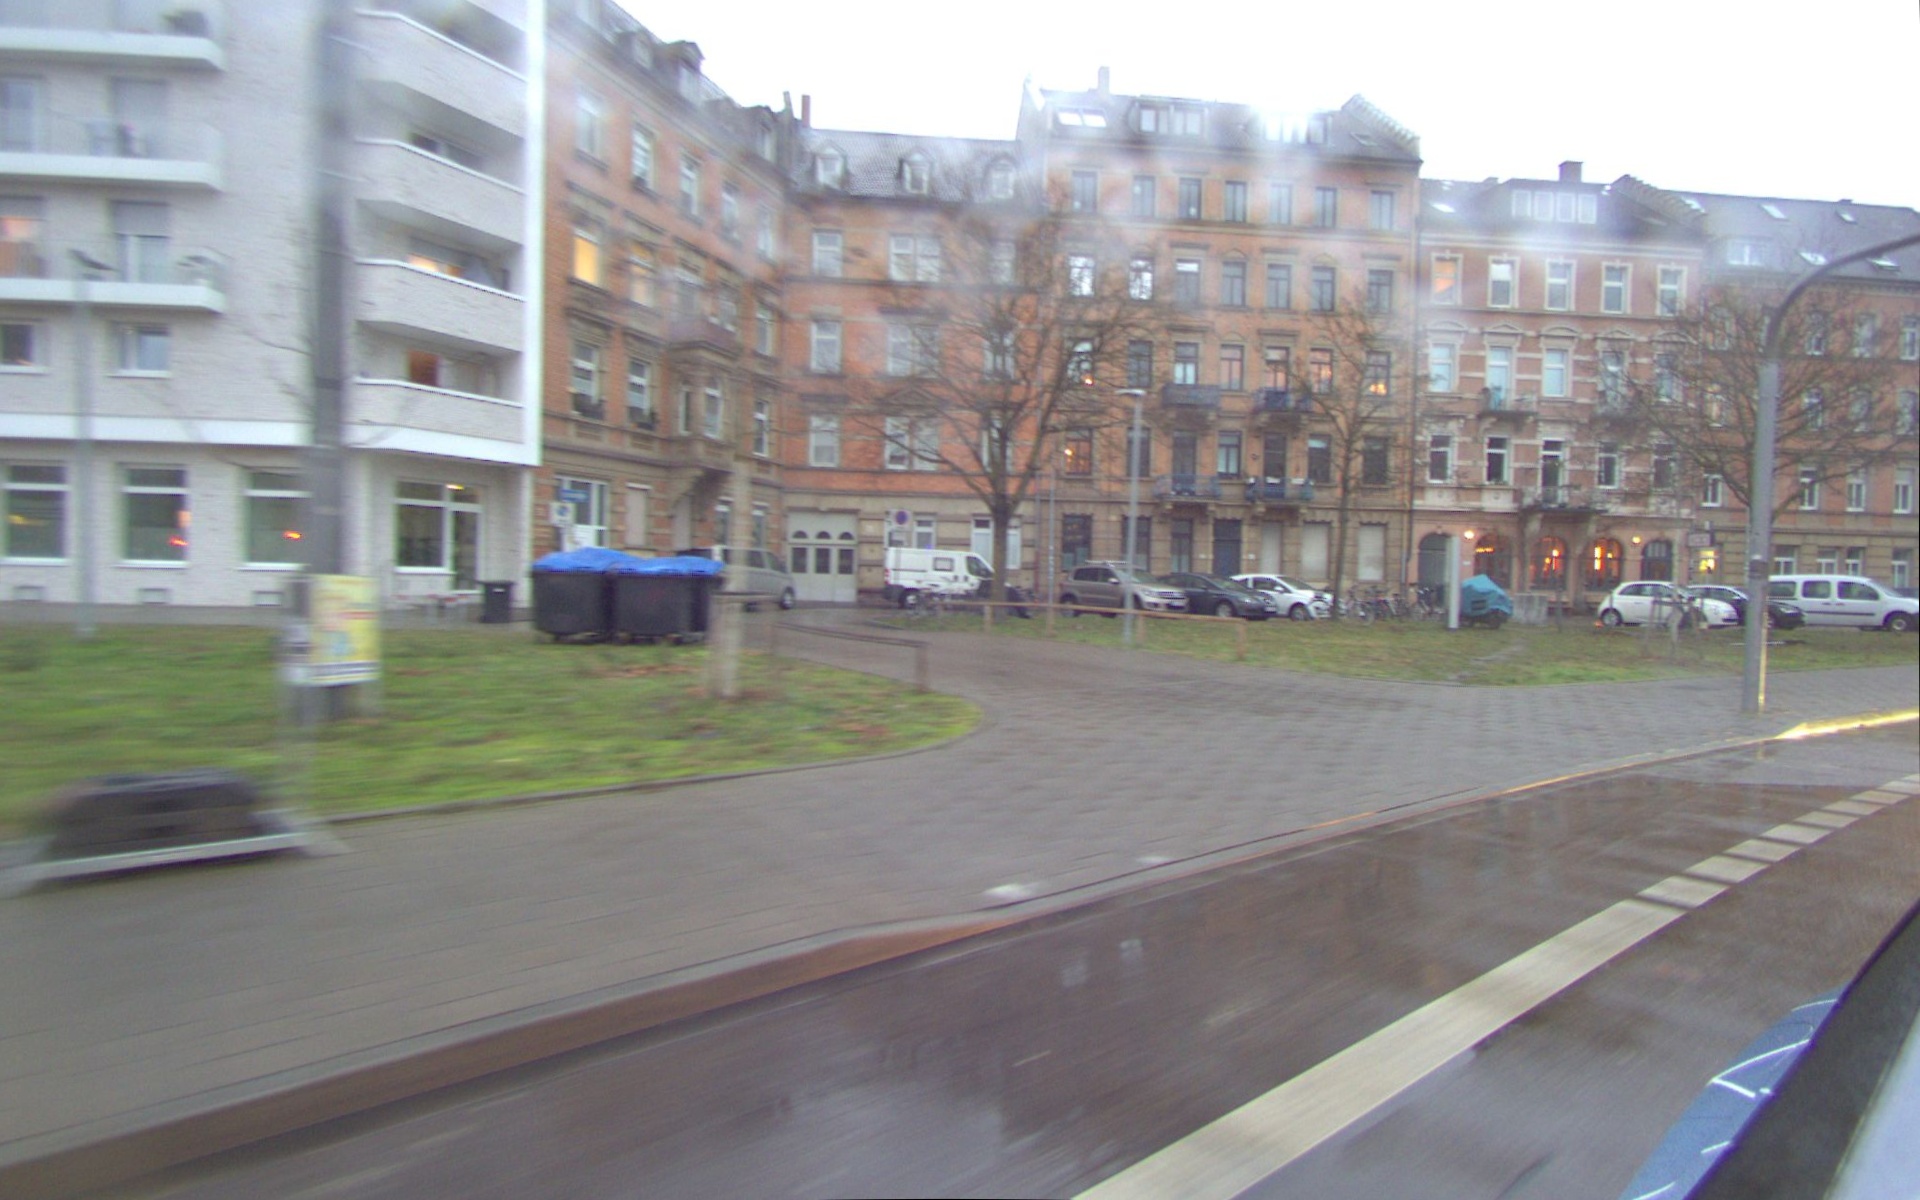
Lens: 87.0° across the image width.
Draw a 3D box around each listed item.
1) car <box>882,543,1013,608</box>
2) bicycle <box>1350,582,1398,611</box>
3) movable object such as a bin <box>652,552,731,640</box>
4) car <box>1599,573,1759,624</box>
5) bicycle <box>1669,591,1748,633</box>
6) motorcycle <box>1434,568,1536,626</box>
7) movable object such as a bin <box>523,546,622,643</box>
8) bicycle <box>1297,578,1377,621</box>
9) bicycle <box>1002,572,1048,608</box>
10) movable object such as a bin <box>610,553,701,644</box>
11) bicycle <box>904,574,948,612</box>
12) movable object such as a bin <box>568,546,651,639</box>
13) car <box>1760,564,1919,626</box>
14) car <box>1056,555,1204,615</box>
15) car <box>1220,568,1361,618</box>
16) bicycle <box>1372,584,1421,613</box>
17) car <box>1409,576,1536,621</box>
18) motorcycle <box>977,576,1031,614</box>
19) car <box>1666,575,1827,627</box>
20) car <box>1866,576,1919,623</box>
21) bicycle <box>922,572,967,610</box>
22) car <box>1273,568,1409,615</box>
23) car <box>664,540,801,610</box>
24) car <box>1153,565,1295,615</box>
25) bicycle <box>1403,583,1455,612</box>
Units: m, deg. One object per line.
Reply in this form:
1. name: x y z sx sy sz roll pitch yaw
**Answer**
1. car: -0.496 -0.885 37.041 4.566 2.216 2.003 1 1 -7
2. bicycle: 12.969 -0.116 31.755 0.436 0.804 1.800 1 3 -11
3. movable object such as a bin: -4.762 -0.077 18.043 1.119 1.504 1.053 1 1 0
4. car: 21.937 -0.088 31.000 1.492 1.417 3.690 0 2 -34
5. bicycle: 19.034 0.290 25.781 0.437 0.942 1.799 1 3 -7
6. motorcycle: 13.865 -0.113 26.823 0.866 1.362 2.365 0 5 -21
7. movable object such as a bin: -6.378 -0.103 16.717 1.229 1.529 1.053 1 1 0
8. bicycle: 9.969 -0.017 26.805 1.880 1.031 0.535 3 3 15
9. bicycle: 1.905 -0.304 29.922 0.437 0.942 1.799 0 4 -29
10. movable object such as a bin: -5.068 -0.034 16.931 1.202 1.450 1.053 1 1 0
11. bicycle: -0.947 -0.216 27.909 0.437 0.942 1.799 0 4 -29
12. movable object such as a bin: -6.270 -0.150 18.164 1.119 1.595 1.053 1 1 0
13. car: 27.773 -0.185 31.355 1.747 1.790 4.346 0 2 -35
14. car: 4.780 -0.459 28.896 1.709 1.589 4.157 0 2 -36
15. car: 9.637 -0.241 29.754 1.637 1.322 3.688 0 2 -36
16. bicycle: 13.646 -0.065 31.675 0.436 0.787 1.800 1 3 -11
17. car: 16.392 -0.084 32.485 1.492 1.322 3.302 0 2 -34
18. motorcycle: 1.204 -0.148 27.998 0.503 0.942 1.797 0 4 -34
19. car: 24.533 -0.010 31.680 1.492 1.454 3.690 0 2 -34
20. car: 30.783 0.017 31.149 1.667 1.462 3.969 0 2 -30
21. bicycle: -0.451 -0.274 28.200 0.437 0.942 1.799 0 4 -29
22. car: 11.647 -0.283 31.111 1.492 1.322 3.688 0 2 -36
23. car: -6.929 -0.777 31.356 1.920 1.966 4.567 2 2 21
24. car: 7.481 -0.323 28.927 1.709 1.322 3.688 0 2 -36
25. bicycle: 14.794 -0.090 31.966 0.386 0.827 1.800 1 3 -14
